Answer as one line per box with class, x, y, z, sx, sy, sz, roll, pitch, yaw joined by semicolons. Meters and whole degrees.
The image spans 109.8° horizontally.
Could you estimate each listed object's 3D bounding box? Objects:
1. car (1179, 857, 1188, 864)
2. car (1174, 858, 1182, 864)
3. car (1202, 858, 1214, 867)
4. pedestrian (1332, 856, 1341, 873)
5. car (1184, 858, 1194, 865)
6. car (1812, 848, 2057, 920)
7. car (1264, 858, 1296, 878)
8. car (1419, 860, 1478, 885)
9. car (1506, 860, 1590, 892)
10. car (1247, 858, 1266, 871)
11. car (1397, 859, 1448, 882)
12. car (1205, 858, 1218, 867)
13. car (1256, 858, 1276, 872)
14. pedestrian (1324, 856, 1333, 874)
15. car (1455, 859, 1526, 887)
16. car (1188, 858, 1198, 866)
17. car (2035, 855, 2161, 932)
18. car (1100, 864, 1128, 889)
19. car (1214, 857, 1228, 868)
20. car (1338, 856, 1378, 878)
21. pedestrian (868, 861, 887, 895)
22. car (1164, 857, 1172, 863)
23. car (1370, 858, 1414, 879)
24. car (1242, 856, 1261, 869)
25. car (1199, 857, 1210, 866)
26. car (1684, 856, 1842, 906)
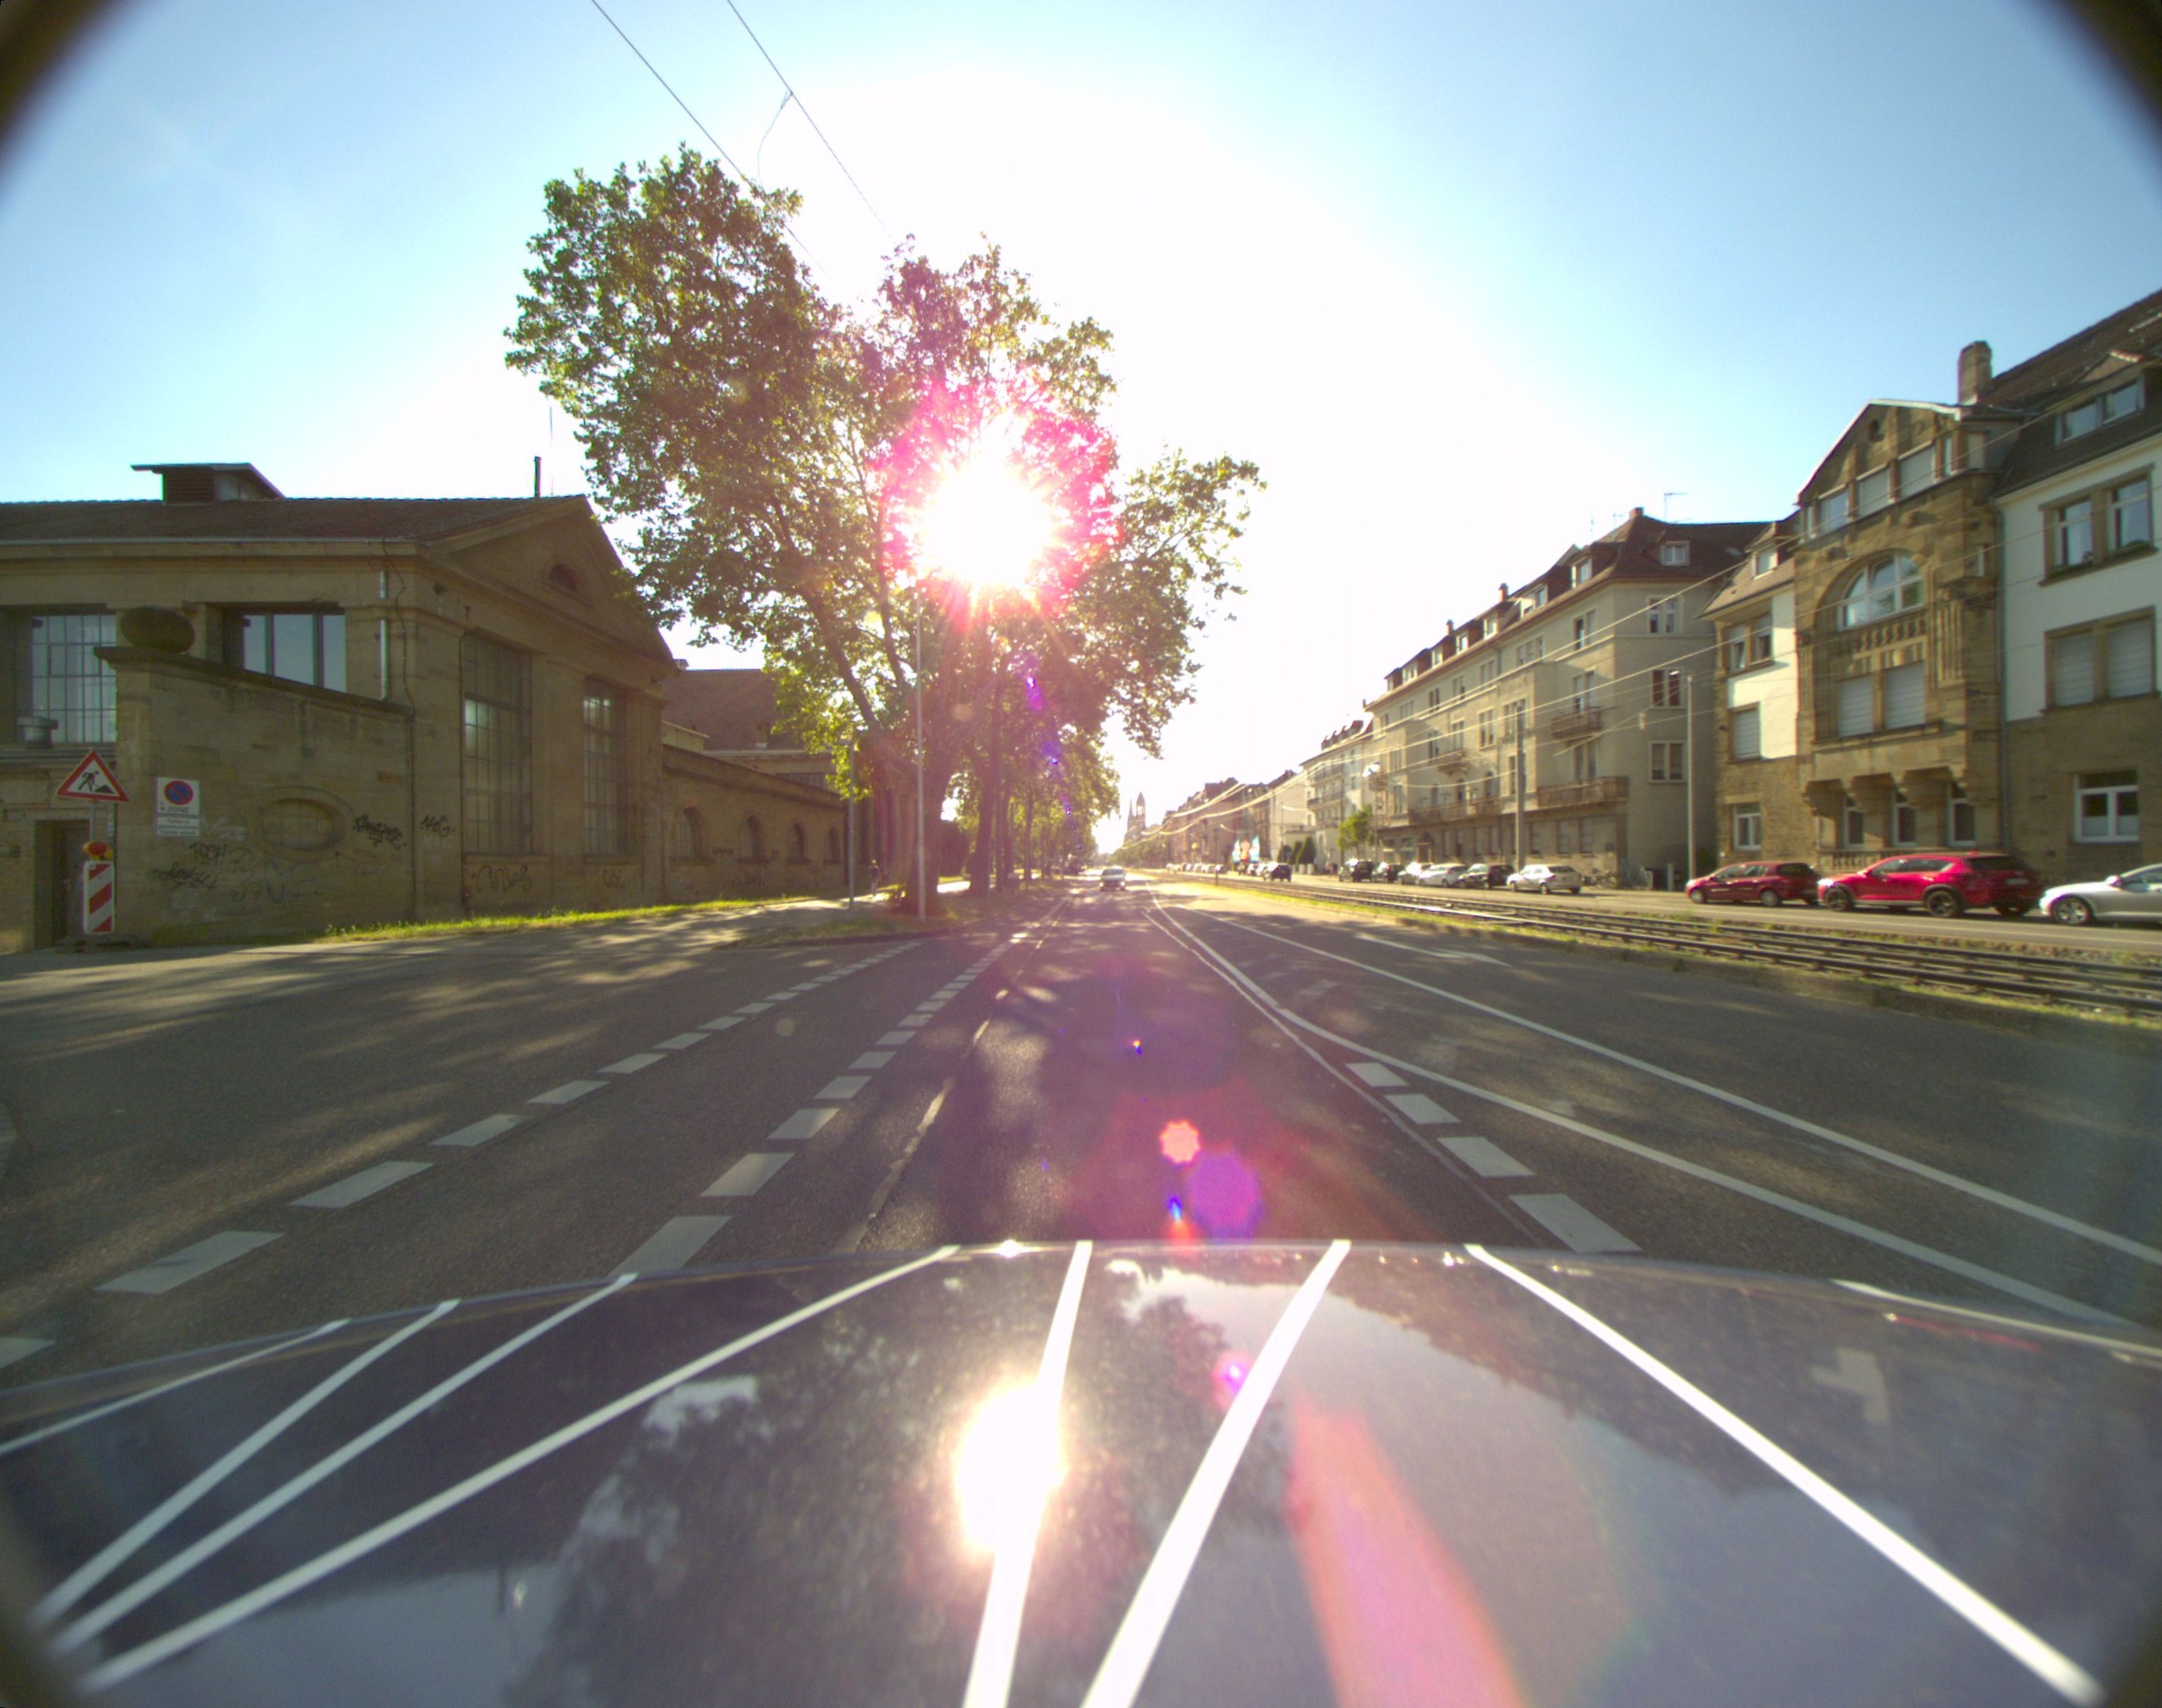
car;23.972;1.619;178.040;1.624;1.581;3.450;-2;0;0
car;24.029;1.764;188.503;1.624;1.581;3.450;-2;0;0
car;23.515;1.515;141.299;1.624;1.581;3.450;-2;0;0
pedestrian;26.402;1.084;78.469;0.725;1.779;0.678;0;0;0
car;24.173;1.696;170.444;1.624;1.581;3.450;-2;0;0
car;22.886;0.742;20.673;1.860;1.677;4.263;-3;0;1
car;17.896;1.236;68.489;1.822;1.674;4.000;-1;0;1
car;22.749;1.110;47.165;1.642;1.438;3.538;-2;0;-7
car;23.072;1.047;37.672;1.802;1.470;3.823;-2;0;1
car;23.270;1.376;100.634;1.684;1.562;3.388;-2;0;0
car;23.377;1.107;52.128;1.802;1.470;3.823;-2;0;1
car;23.257;1.487;135.462;1.624;1.581;3.450;-2;0;0
car;23.220;1.380;95.407;1.684;1.562;3.388;-2;0;0
pedestrian;25.609;1.122;78.570;0.725;1.779;0.678;0;0;0
car;23.105;1.033;43.022;1.802;1.422;3.823;-2;0;-1
car;24.292;1.710;165.465;1.624;1.581;3.450;-2;0;0
car;22.902;0.793;15.278;1.861;1.490;4.382;-3;0;-1
car;2.195;1.427;49.769;1.686;1.462;4.056;-2;0;3
car;23.256;1.400;126.120;1.624;1.581;3.450;-2;0;0
car;23.114;1.053;63.522;1.876;1.726;3.916;-2;0;1
pedestrian;-9.814;1.149;36.664;0.672;1.652;0.874;0;0;-1
car;24.641;1.704;215.561;1.624;1.581;3.450;-2;0;0
car;23.666;1.100;57.943;1.802;1.470;3.823;-2;0;1
car;23.683;1.201;105.672;1.727;1.776;3.881;-2;0;0
car;23.887;1.436;147.141;1.624;1.581;3.450;-2;0;0
car;22.960;0.866;25.777;1.756;1.487;3.728;-3;0;-6
